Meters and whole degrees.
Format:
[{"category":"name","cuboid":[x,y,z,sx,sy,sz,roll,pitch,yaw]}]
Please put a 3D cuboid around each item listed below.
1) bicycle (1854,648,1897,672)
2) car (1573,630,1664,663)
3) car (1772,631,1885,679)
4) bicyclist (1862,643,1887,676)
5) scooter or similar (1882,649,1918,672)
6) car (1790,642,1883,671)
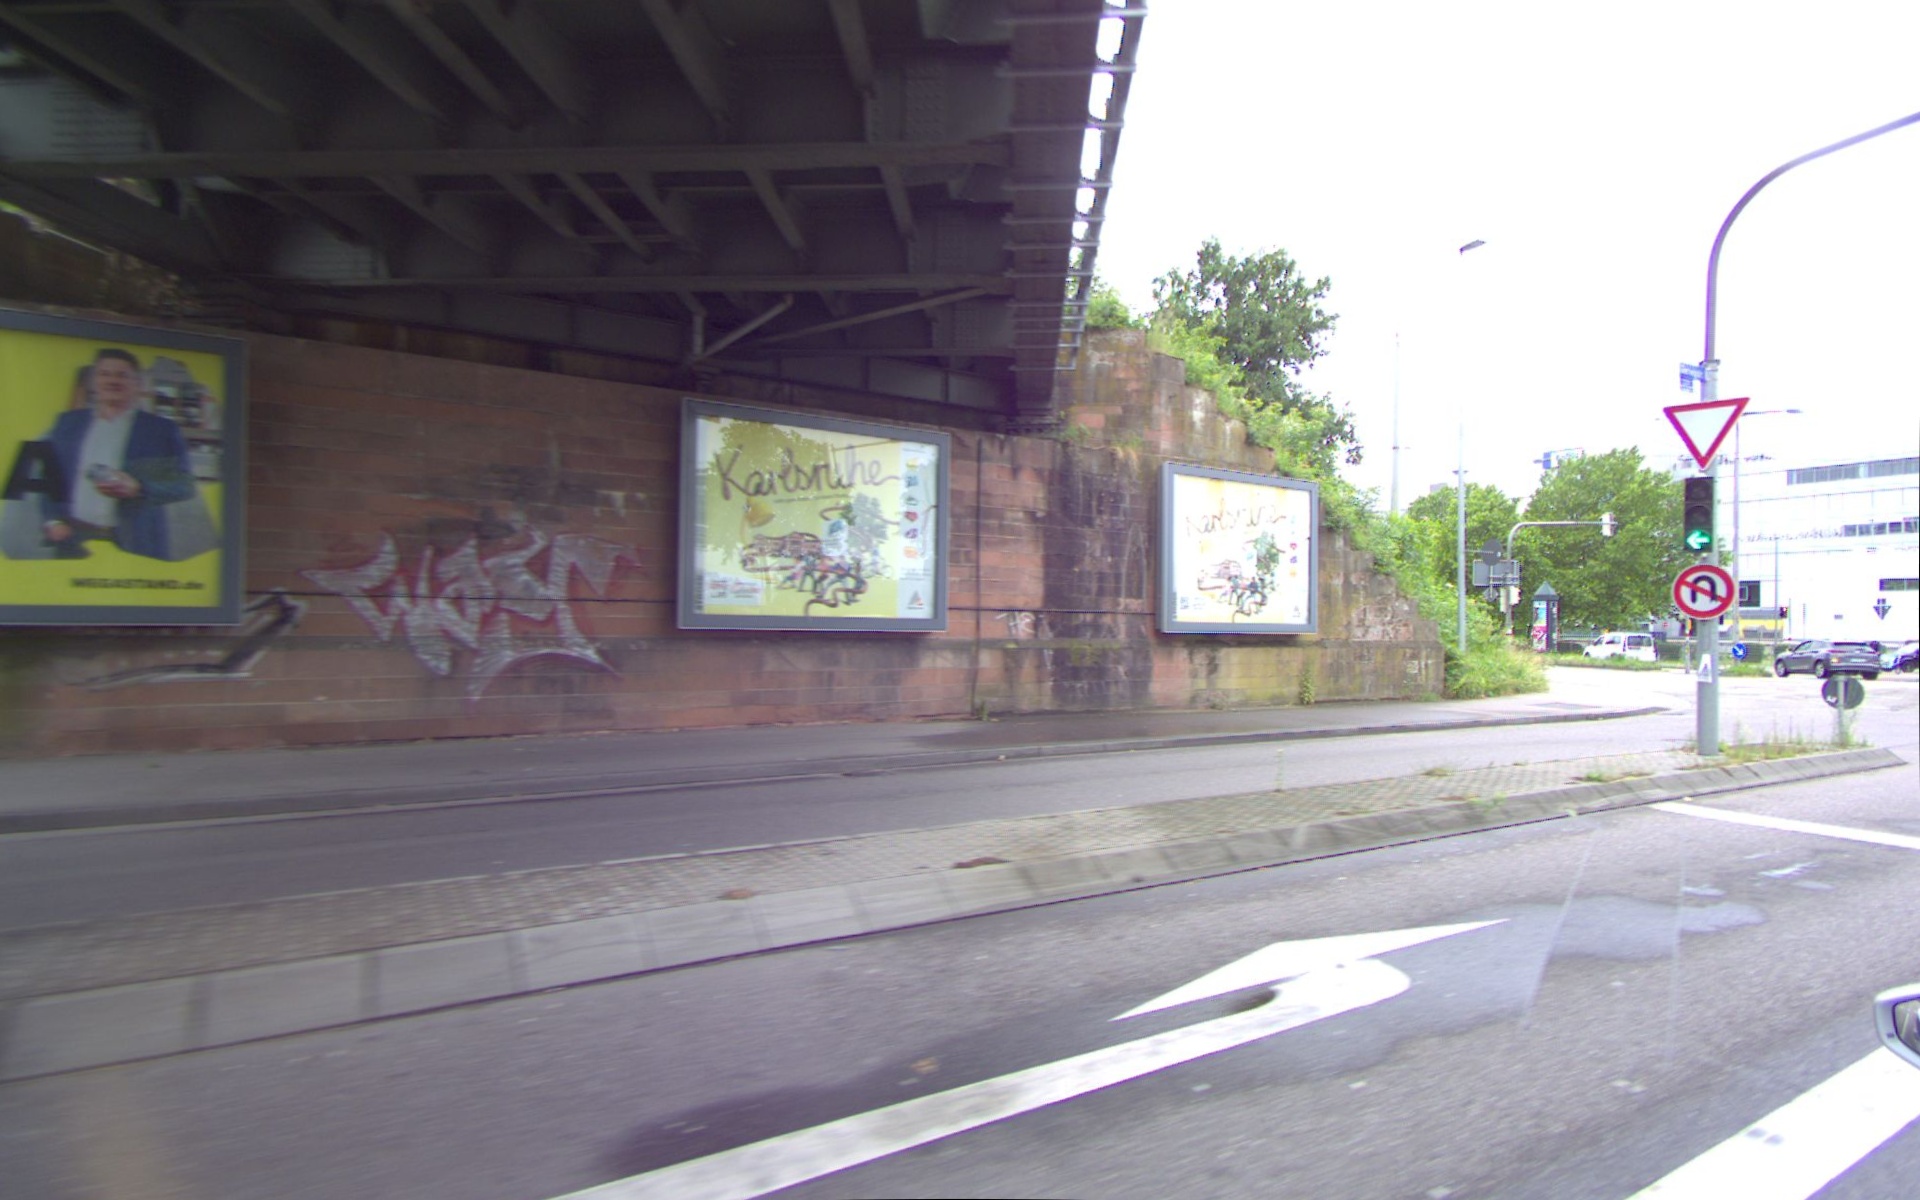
[{"category":"bicycle","cuboid":[43.740,2.852,47.986,1.969,1.076,0.645,1,1,-19]},{"category":"car","cuboid":[36.235,2.543,55.447,1.929,1.548,5.012,1,0,3]},{"category":"car","cuboid":[33.966,2.105,39.422,1.742,1.674,3.671,1,0,11]},{"category":"bicyclist","cuboid":[43.672,2.849,47.960,0.617,1.538,0.645,1,1,-19]},{"category":"scooter or similar","cuboid":[45.486,2.919,48.602,1.427,1.076,0.645,1,1,-19]},{"category":"car","cuboid":[49.356,3.151,56.655,1.744,1.548,3.661,1,-2,-13]}]
